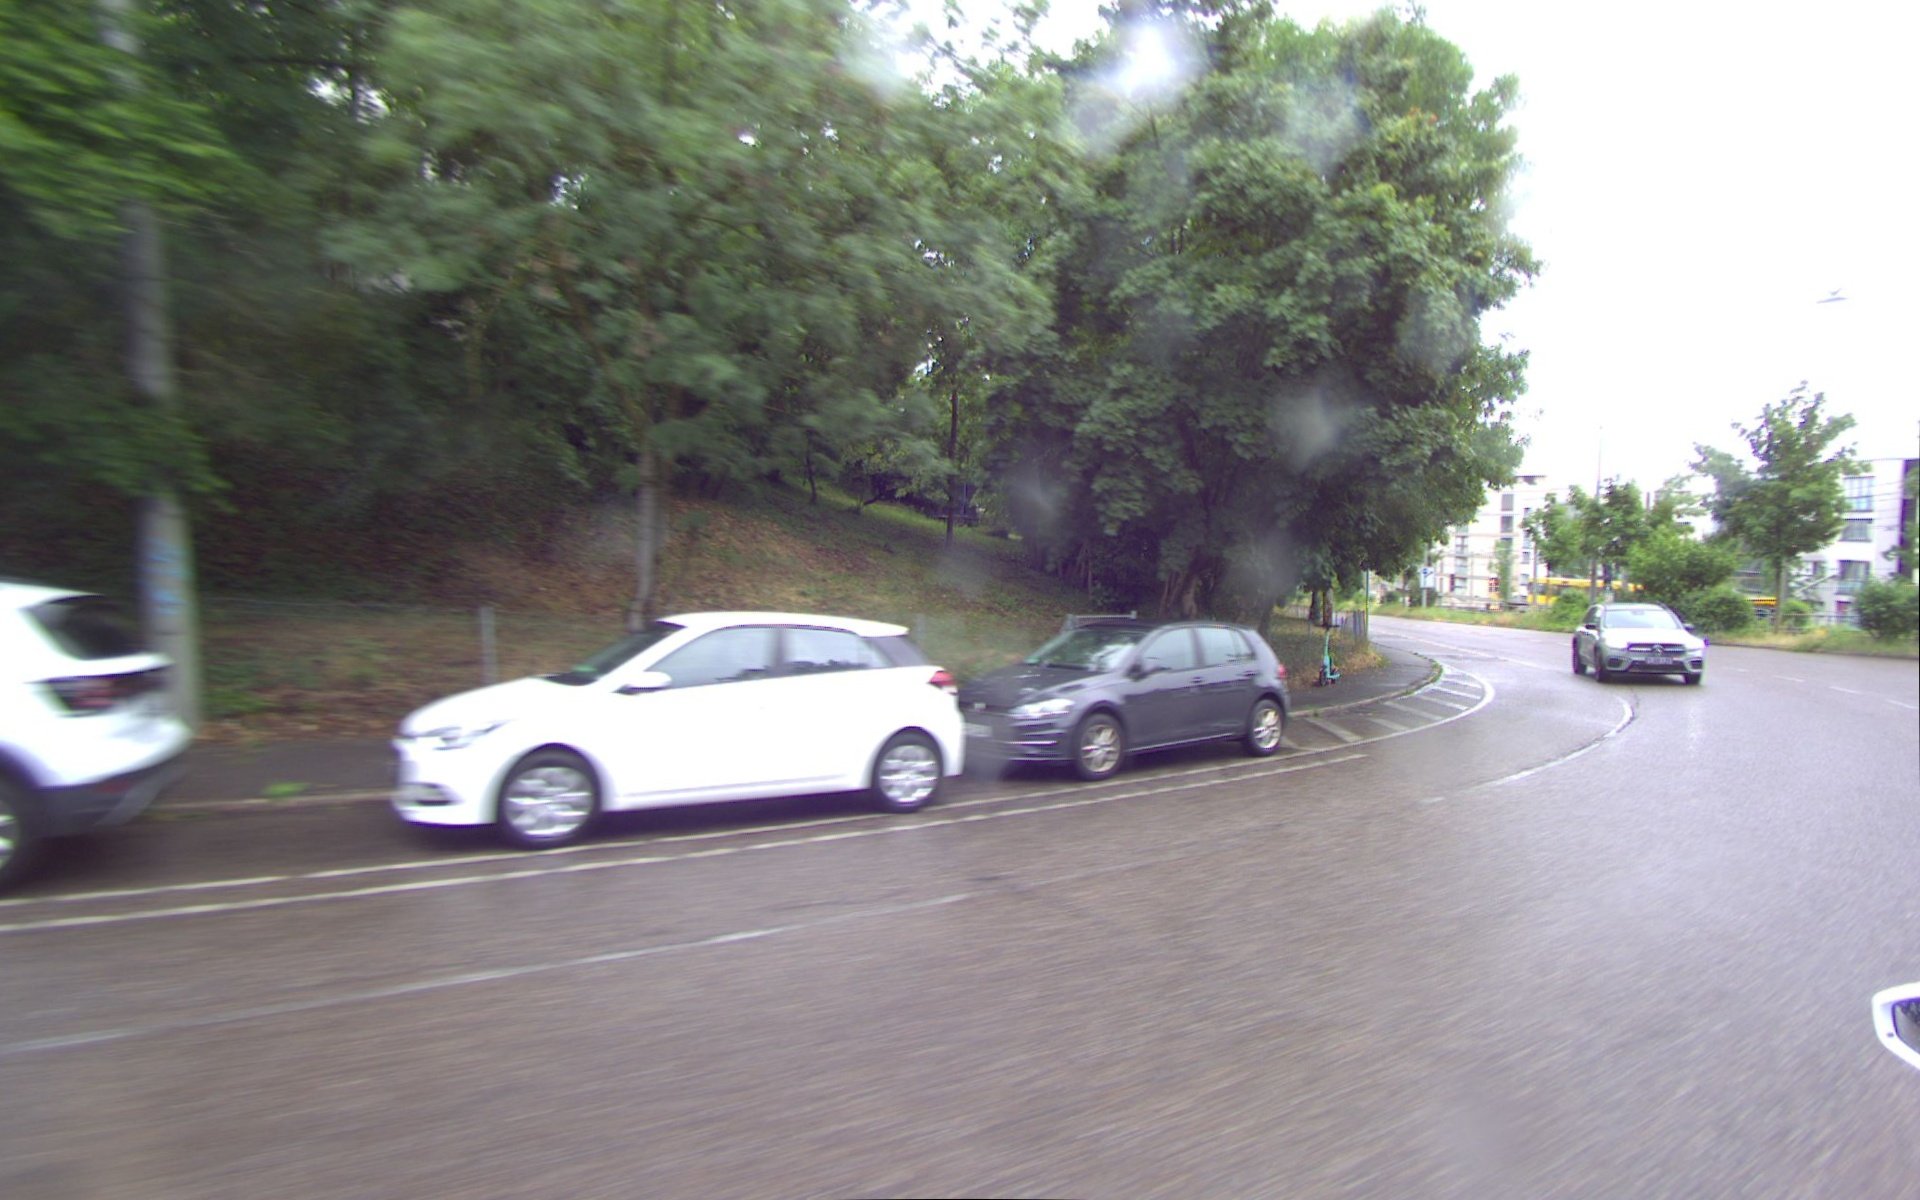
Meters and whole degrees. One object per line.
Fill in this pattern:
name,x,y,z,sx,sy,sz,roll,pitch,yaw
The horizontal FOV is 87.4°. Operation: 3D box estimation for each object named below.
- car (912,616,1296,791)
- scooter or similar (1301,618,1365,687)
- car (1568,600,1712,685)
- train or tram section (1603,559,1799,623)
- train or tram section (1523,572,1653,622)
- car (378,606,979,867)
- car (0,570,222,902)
car,1.616,0.918,10.477,3.982,1.462,1.759,1,0,-39
scooter or similar,7.528,1.038,20.229,0.602,1.285,1.428,6,3,45
car,14.963,0.869,22.359,1.788,1.692,4.307,-1,0,23
train or tram section,52.553,-0.626,72.499,3.273,4.000,19.291,1,0,11
train or tram section,55.963,-0.295,90.455,3.273,4.000,18.822,1,0,11
car,-2.014,0.823,7.500,4.001,1.476,1.743,2,-1,-31
car,-6.295,0.594,4.967,3.976,1.604,1.796,3,-1,-29
